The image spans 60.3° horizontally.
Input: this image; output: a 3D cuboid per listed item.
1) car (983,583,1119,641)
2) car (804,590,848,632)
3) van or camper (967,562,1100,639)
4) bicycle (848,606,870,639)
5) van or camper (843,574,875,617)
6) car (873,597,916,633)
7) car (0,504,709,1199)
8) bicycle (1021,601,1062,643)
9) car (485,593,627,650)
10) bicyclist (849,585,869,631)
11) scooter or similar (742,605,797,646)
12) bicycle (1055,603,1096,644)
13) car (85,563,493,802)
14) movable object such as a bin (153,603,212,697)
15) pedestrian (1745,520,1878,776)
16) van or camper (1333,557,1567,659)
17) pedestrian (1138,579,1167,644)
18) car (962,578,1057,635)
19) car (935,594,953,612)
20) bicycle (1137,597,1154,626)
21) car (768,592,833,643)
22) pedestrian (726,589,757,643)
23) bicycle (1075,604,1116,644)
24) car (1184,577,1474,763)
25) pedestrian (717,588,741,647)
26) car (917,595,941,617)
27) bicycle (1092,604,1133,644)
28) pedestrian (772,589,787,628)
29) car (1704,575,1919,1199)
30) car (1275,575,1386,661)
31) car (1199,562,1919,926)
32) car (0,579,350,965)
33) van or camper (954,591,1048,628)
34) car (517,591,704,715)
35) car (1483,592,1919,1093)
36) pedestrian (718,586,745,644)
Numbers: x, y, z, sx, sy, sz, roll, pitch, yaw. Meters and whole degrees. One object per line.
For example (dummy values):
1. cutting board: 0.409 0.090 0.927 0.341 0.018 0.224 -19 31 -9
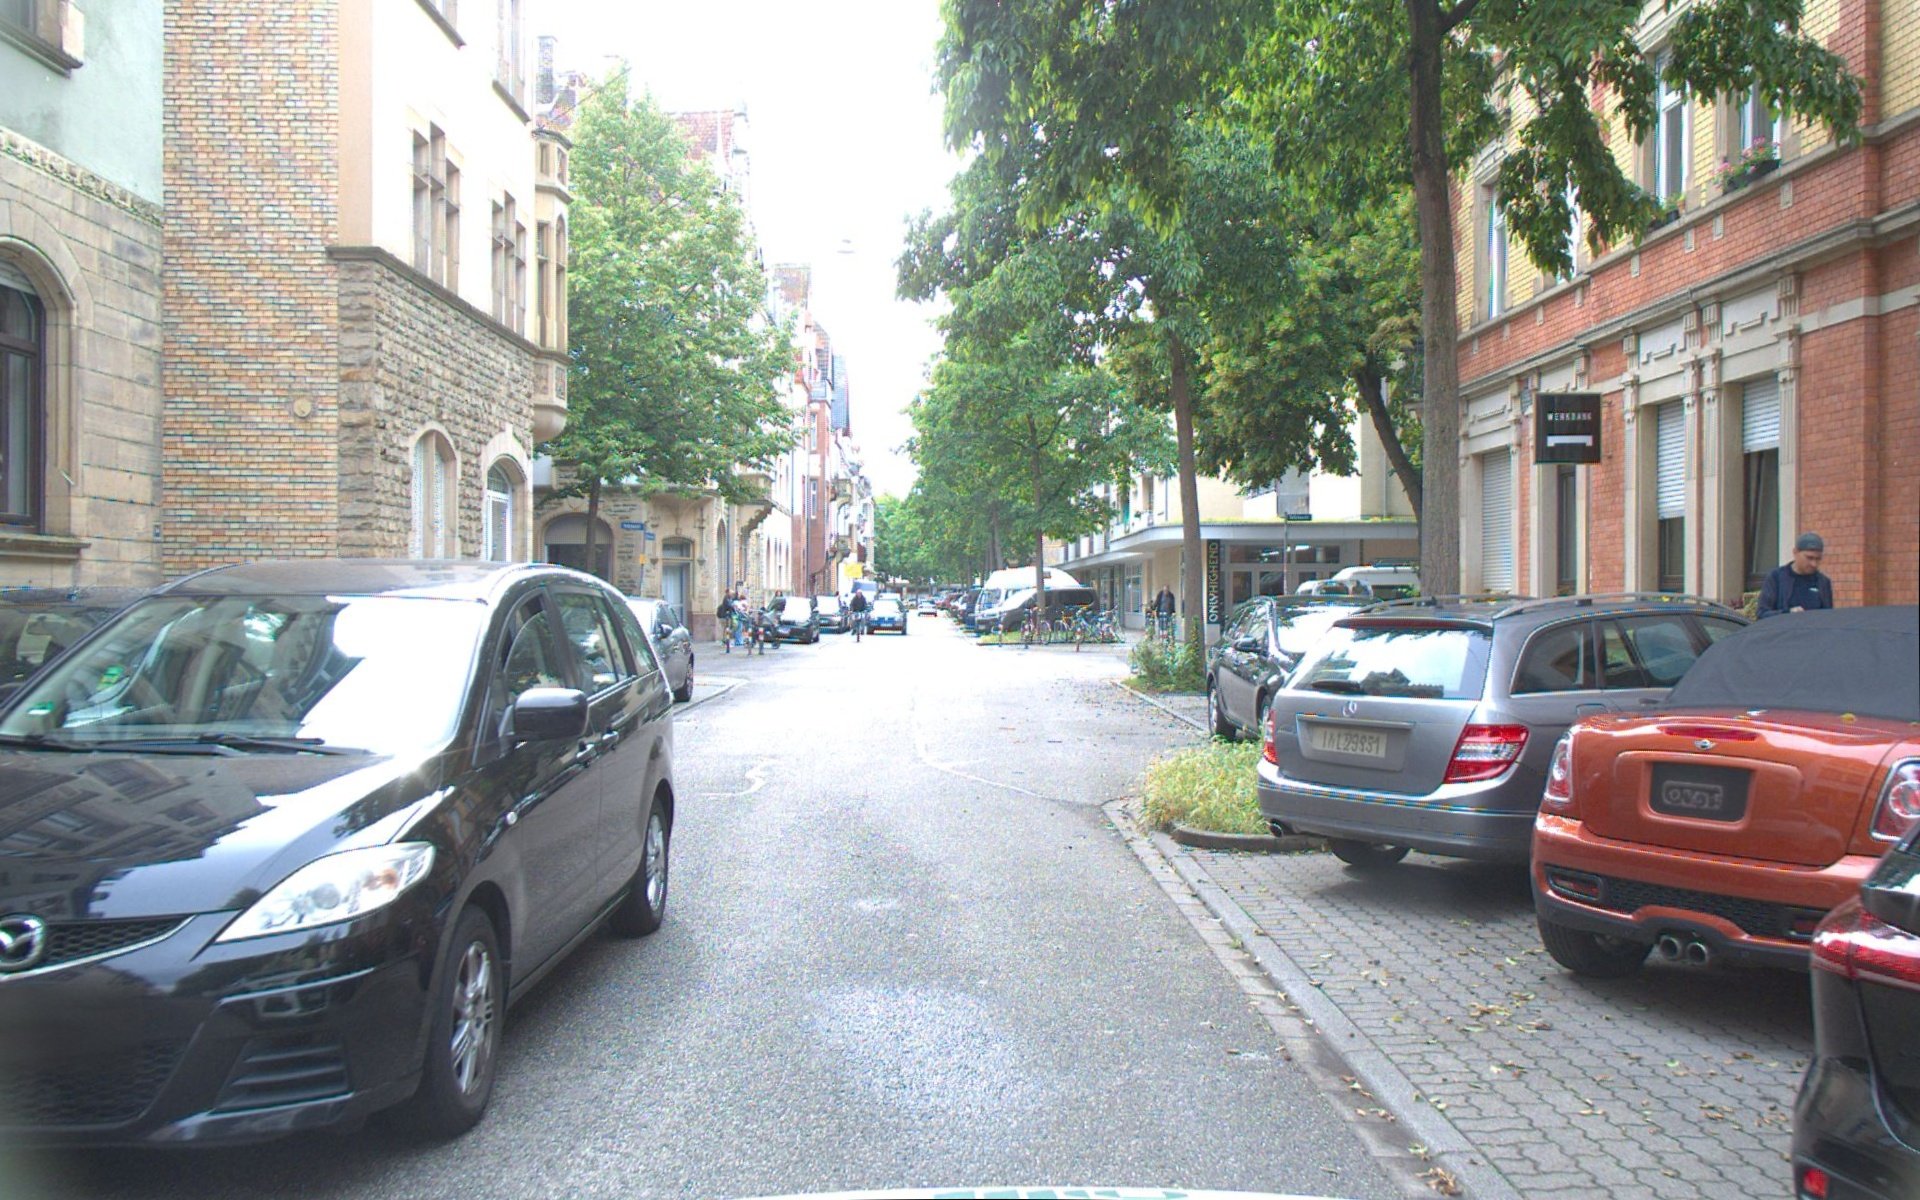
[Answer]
1. car: 3.117 0.398 56.533 4.279 1.886 1.895 -1 0 -27
2. car: -5.498 0.441 68.083 1.613 1.598 2.956 2 1 -2
3. van or camper: 2.636 -0.001 59.172 4.541 2.641 1.889 -1 0 -34
4. bicycle: -3.452 0.775 56.581 0.620 1.113 1.799 0 -1 1
5. van or camper: -6.963 -0.355 114.517 1.967 2.697 5.317 0 3 -1
6. car: -2.692 0.643 68.948 1.673 1.438 3.851 -1 -1 -1
7. car: -2.108 0.618 5.889 1.772 1.658 4.207 0 0 0
8. bicycle: 2.415 0.646 49.051 0.541 1.194 1.716 0 0 -22
9. car: -11.420 0.600 46.838 3.492 1.485 1.651 -1 2 8
10. bicyclist: -3.458 0.284 56.628 0.634 1.565 0.677 -1 0 1
11. scooter or similar: -5.556 0.751 48.267 1.438 1.123 0.676 2 0 10
12. bicycle: 3.482 0.689 49.931 0.541 1.194 1.716 0 0 -22
13. car: -4.741 0.498 12.270 1.557 1.459 3.808 2 0 -2
14. movable object such as a bin: -9.107 0.580 19.391 0.430 1.081 0.551 0 0 -1
15. pedestrian: 6.064 0.330 11.802 0.585 1.763 0.663 0 0 -3
16. van or camper: 12.890 0.189 43.852 5.648 2.537 2.138 0 3 6
17. pedestrian: 5.496 0.326 47.355 0.763 1.828 0.509 1 0 1
18. car: 2.053 0.251 67.942 2.022 2.235 4.389 0 0 31
19. car: -1.895 0.374 197.527 1.953 2.049 3.999 3 0 -2
20. bicycle: 7.074 0.434 62.993 0.474 1.109 1.701 0 0 1
21. car: -5.110 0.587 53.400 1.674 1.521 4.000 1 -1 0
22. pedestrian: -6.517 0.473 49.444 0.620 1.621 0.666 1 0 40
23. bicycle: 4.116 0.713 50.275 0.541 1.194 1.716 0 0 -22
24. car: 3.427 0.586 16.231 1.728 1.512 4.478 -2 0 -1
25. pedestrian: -6.698 0.501 48.035 0.516 1.672 0.529 1 0 11
26. car: -2.651 0.538 143.275 1.953 1.825 3.999 2 -1 0
27. bicycle: 4.668 0.736 50.664 0.541 1.194 1.686 0 0 -22
28. pedestrian: -7.145 0.347 65.491 0.505 1.545 0.546 0 0 -1
29. car: 3.298 0.687 3.214 3.647 1.492 1.686 -1 0 -33
30. car: 8.447 0.383 37.989 1.733 1.851 4.001 0 0 1
31. car: 3.461 0.592 9.036 4.402 1.452 1.734 -2 0 -39
32. car: -4.373 0.646 8.109 1.486 1.459 3.455 2 0 -1
33. van or camper: 2.320 0.536 93.243 4.951 1.902 2.107 -2 0 -29
34. car: -4.568 0.638 22.154 1.692 1.459 3.881 2 0 -1
35. car: 3.979 0.708 6.590 3.842 1.460 1.724 0 1 -37
36. pedestrian: -6.729 0.441 48.709 0.603 1.672 0.604 1 0 11
